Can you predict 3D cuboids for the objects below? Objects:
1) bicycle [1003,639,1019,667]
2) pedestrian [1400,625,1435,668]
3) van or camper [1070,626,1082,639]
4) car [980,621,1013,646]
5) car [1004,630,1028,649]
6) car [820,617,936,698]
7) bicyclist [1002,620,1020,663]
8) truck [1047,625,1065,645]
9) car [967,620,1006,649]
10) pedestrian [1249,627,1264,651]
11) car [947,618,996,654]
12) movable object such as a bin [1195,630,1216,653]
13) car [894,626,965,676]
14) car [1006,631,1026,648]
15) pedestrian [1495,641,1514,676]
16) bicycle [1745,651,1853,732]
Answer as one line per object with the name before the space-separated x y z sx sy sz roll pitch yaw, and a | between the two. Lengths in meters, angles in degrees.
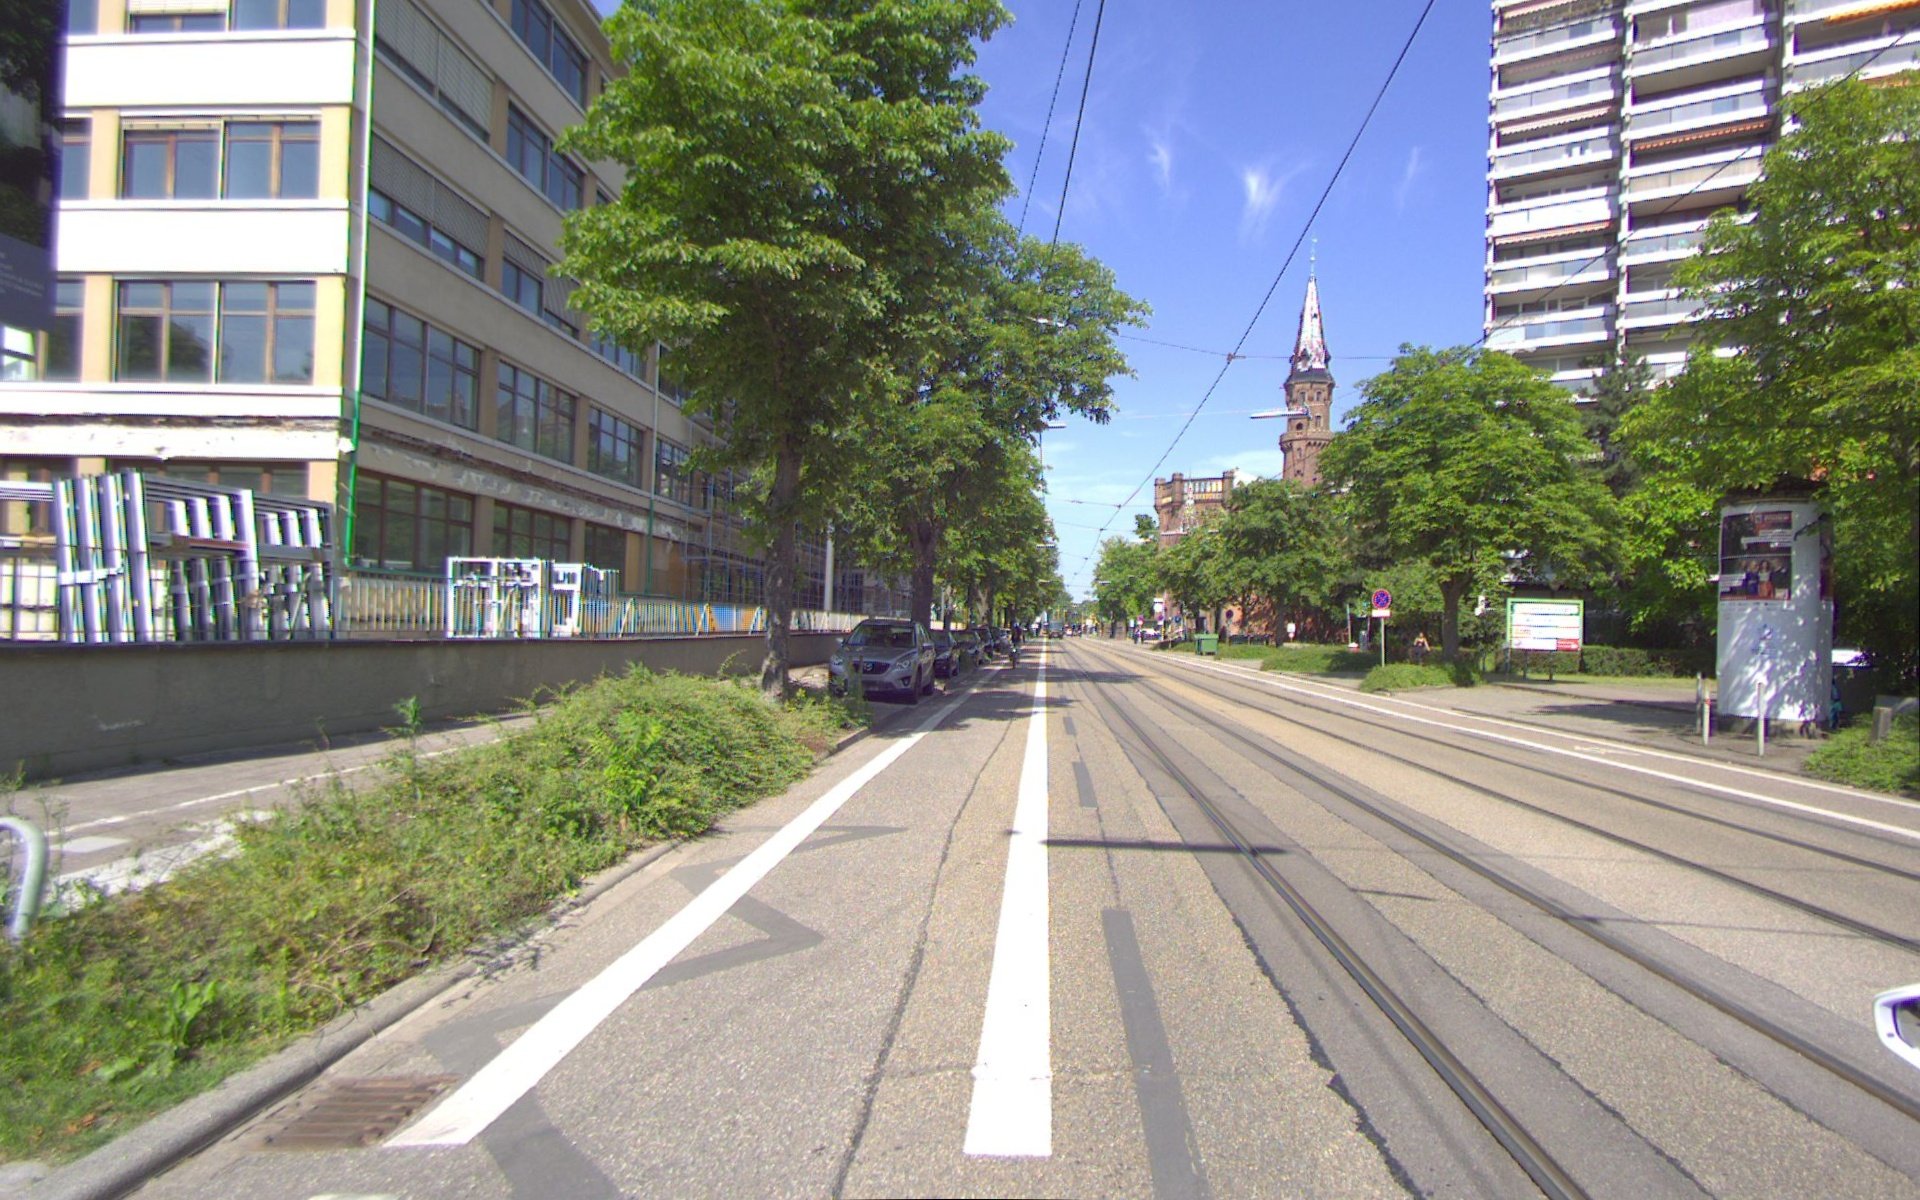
bicycle | 1.954 2.022 38.593 0.585 1.020 1.487 2 -2 3
pedestrian | 20.178 2.045 44.322 1.038 1.821 1.265 3 -1 8
van or camper | 23.405 6.590 203.078 2.009 2.654 5.865 2 -2 4
car | 2.635 2.403 72.140 1.959 1.661 4.003 2 -2 7
car | 5.334 3.746 94.972 1.914 1.661 4.003 2 -2 7
car | -1.644 1.183 21.511 1.784 1.514 4.110 2 -2 4
bicyclist | 1.973 1.591 38.568 0.620 1.628 0.702 2 -1 3
truck | 14.546 5.262 151.986 2.515 2.977 5.082 2 -2 5
car | 1.686 2.115 61.603 1.959 1.661 4.003 2 -2 7
pedestrian | 23.352 3.093 79.121 1.038 1.821 1.265 3 -1 13
car | 0.636 1.829 50.953 1.959 1.661 4.003 2 -2 7
movable object such as a bin | 16.850 2.852 68.992 1.240 1.472 1.080 2 -1 10
car | -0.885 1.560 31.280 1.784 1.472 4.003 0 -2 4
car | 5.954 4.204 107.053 1.960 1.661 4.002 2 -2 5
pedestrian | 18.744 2.016 34.593 0.524 1.169 0.701 1 -2 26
bicycle | 14.845 1.591 17.825 0.536 1.326 1.621 2 -1 -1
